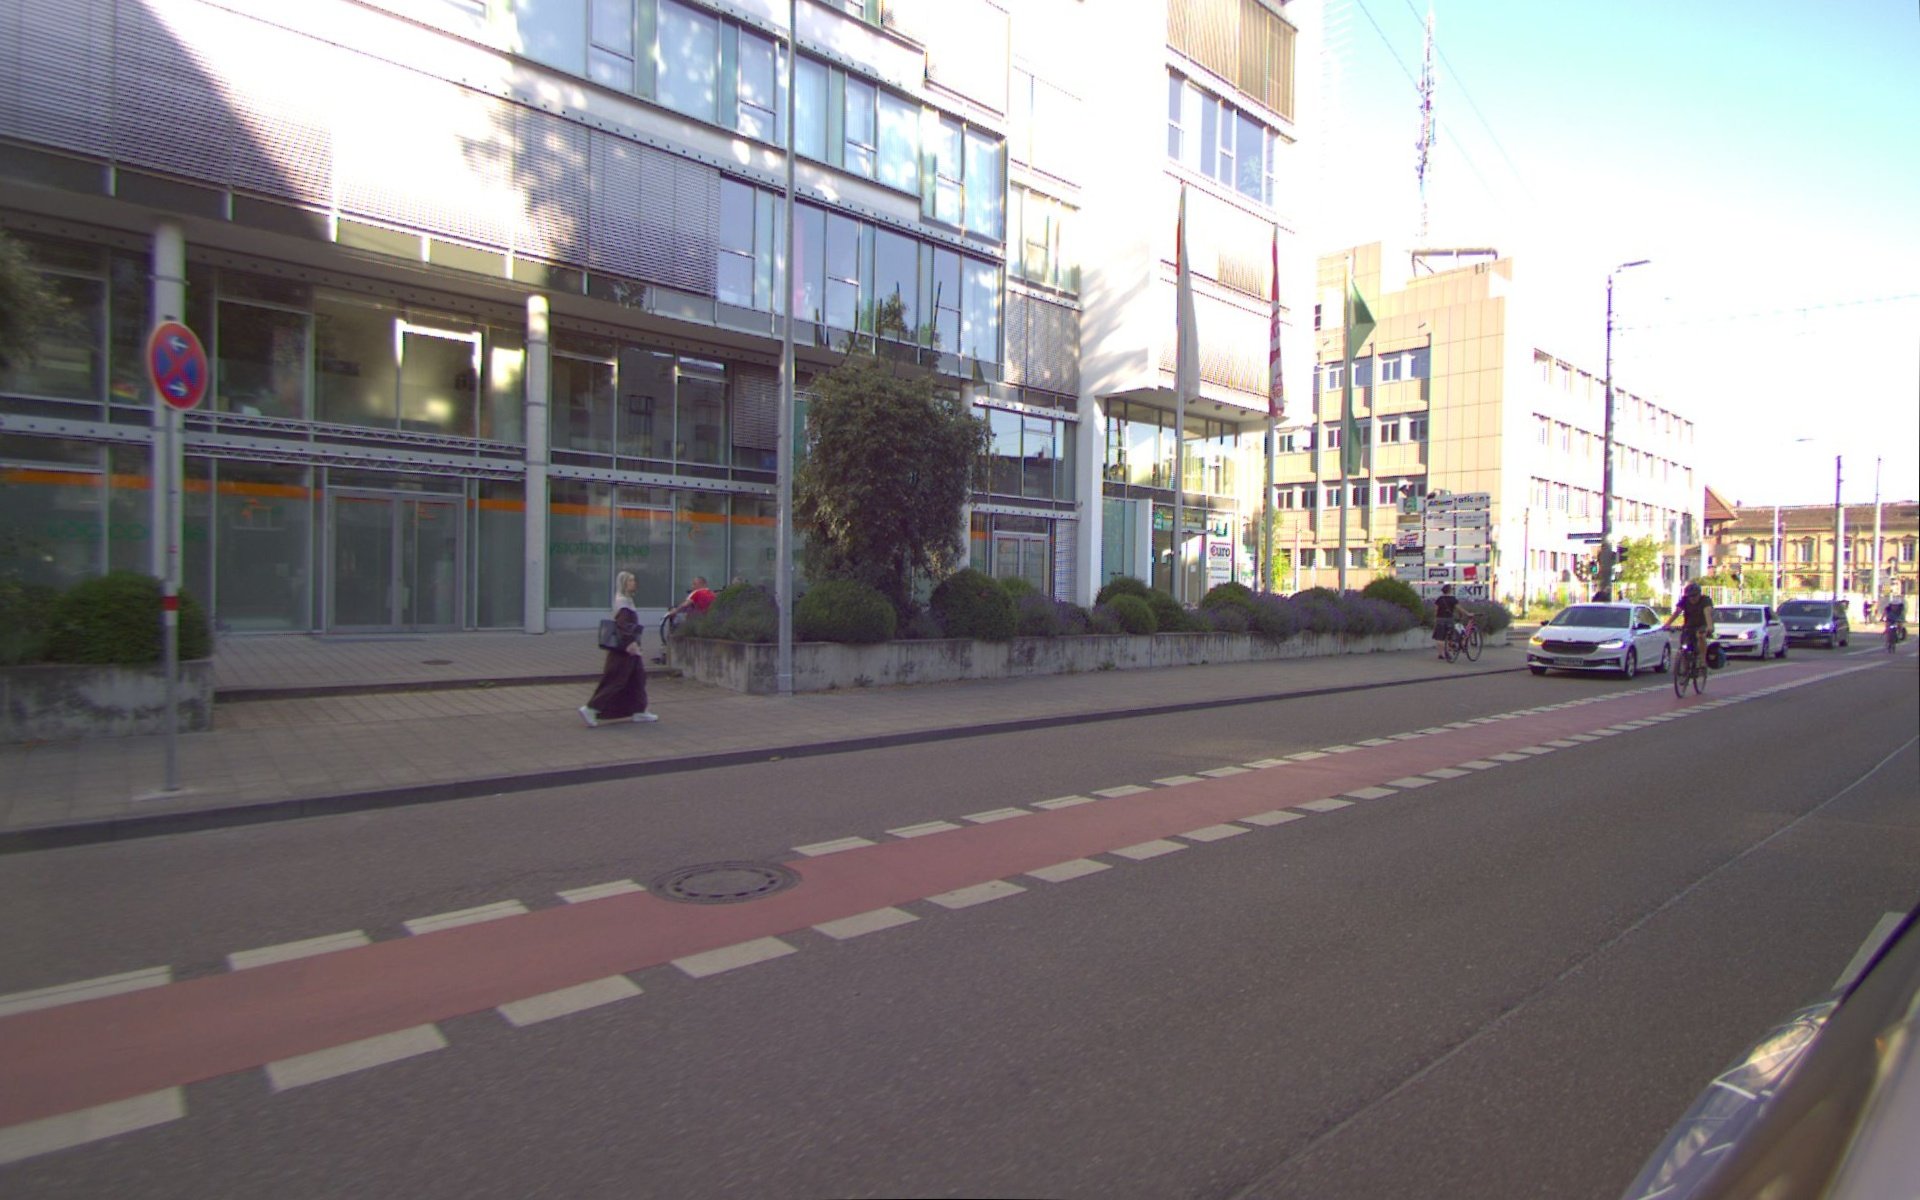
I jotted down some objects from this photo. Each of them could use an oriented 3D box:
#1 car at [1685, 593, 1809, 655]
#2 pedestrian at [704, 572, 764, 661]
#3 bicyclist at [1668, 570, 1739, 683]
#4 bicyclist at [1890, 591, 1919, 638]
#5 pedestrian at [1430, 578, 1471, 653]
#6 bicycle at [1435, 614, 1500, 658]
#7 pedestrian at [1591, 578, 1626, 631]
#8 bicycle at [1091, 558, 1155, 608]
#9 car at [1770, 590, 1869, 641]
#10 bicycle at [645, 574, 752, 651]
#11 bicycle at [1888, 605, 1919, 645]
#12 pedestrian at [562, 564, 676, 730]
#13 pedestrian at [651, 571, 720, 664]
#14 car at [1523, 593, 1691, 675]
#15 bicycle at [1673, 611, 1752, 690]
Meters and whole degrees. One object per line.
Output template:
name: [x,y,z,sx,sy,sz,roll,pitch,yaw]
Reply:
car: [20.825,0.592,26.745,3.798,1.482,1.672,0,2,-38]
pedestrian: [-3.370,0.226,15.092,0.535,1.288,0.784,0,1,-44]
bicyclist: [11.725,0.393,15.965,0.702,1.709,0.751,0,1,-43]
bicyclist: [28.782,0.419,30.742,0.852,1.397,0.685,0,1,-41]
pedestrian: [10.749,0.331,22.179,0.579,1.601,0.527,0,3,-40]
bicycle: [10.977,0.760,21.852,1.869,0.856,0.499,0,5,-40]
pedestrian: [20.610,0.135,32.167,0.652,1.601,0.693,0,3,-39]
bicycle: [4.931,-0.525,30.872,0.741,1.445,2.435,1,1,-23]
car: [29.212,0.480,34.354,3.930,1.616,1.997,0,1,-41]
bicycle: [-4.166,0.190,16.201,1.583,1.176,0.534,0,1,-41]
bicycle: [28.804,0.738,30.762,1.841,1.138,0.666,0,1,-41]
pedestrian: [-3.457,0.439,10.258,0.895,1.594,0.753,0,1,-38]
pedestrian: [-3.959,0.235,14.581,0.682,1.288,0.750,0,1,-45]
car: [13.013,0.602,20.271,3.951,1.437,1.784,0,2,-41]
bicycle: [11.908,0.764,15.992,2.090,1.135,0.550,0,1,-41]
